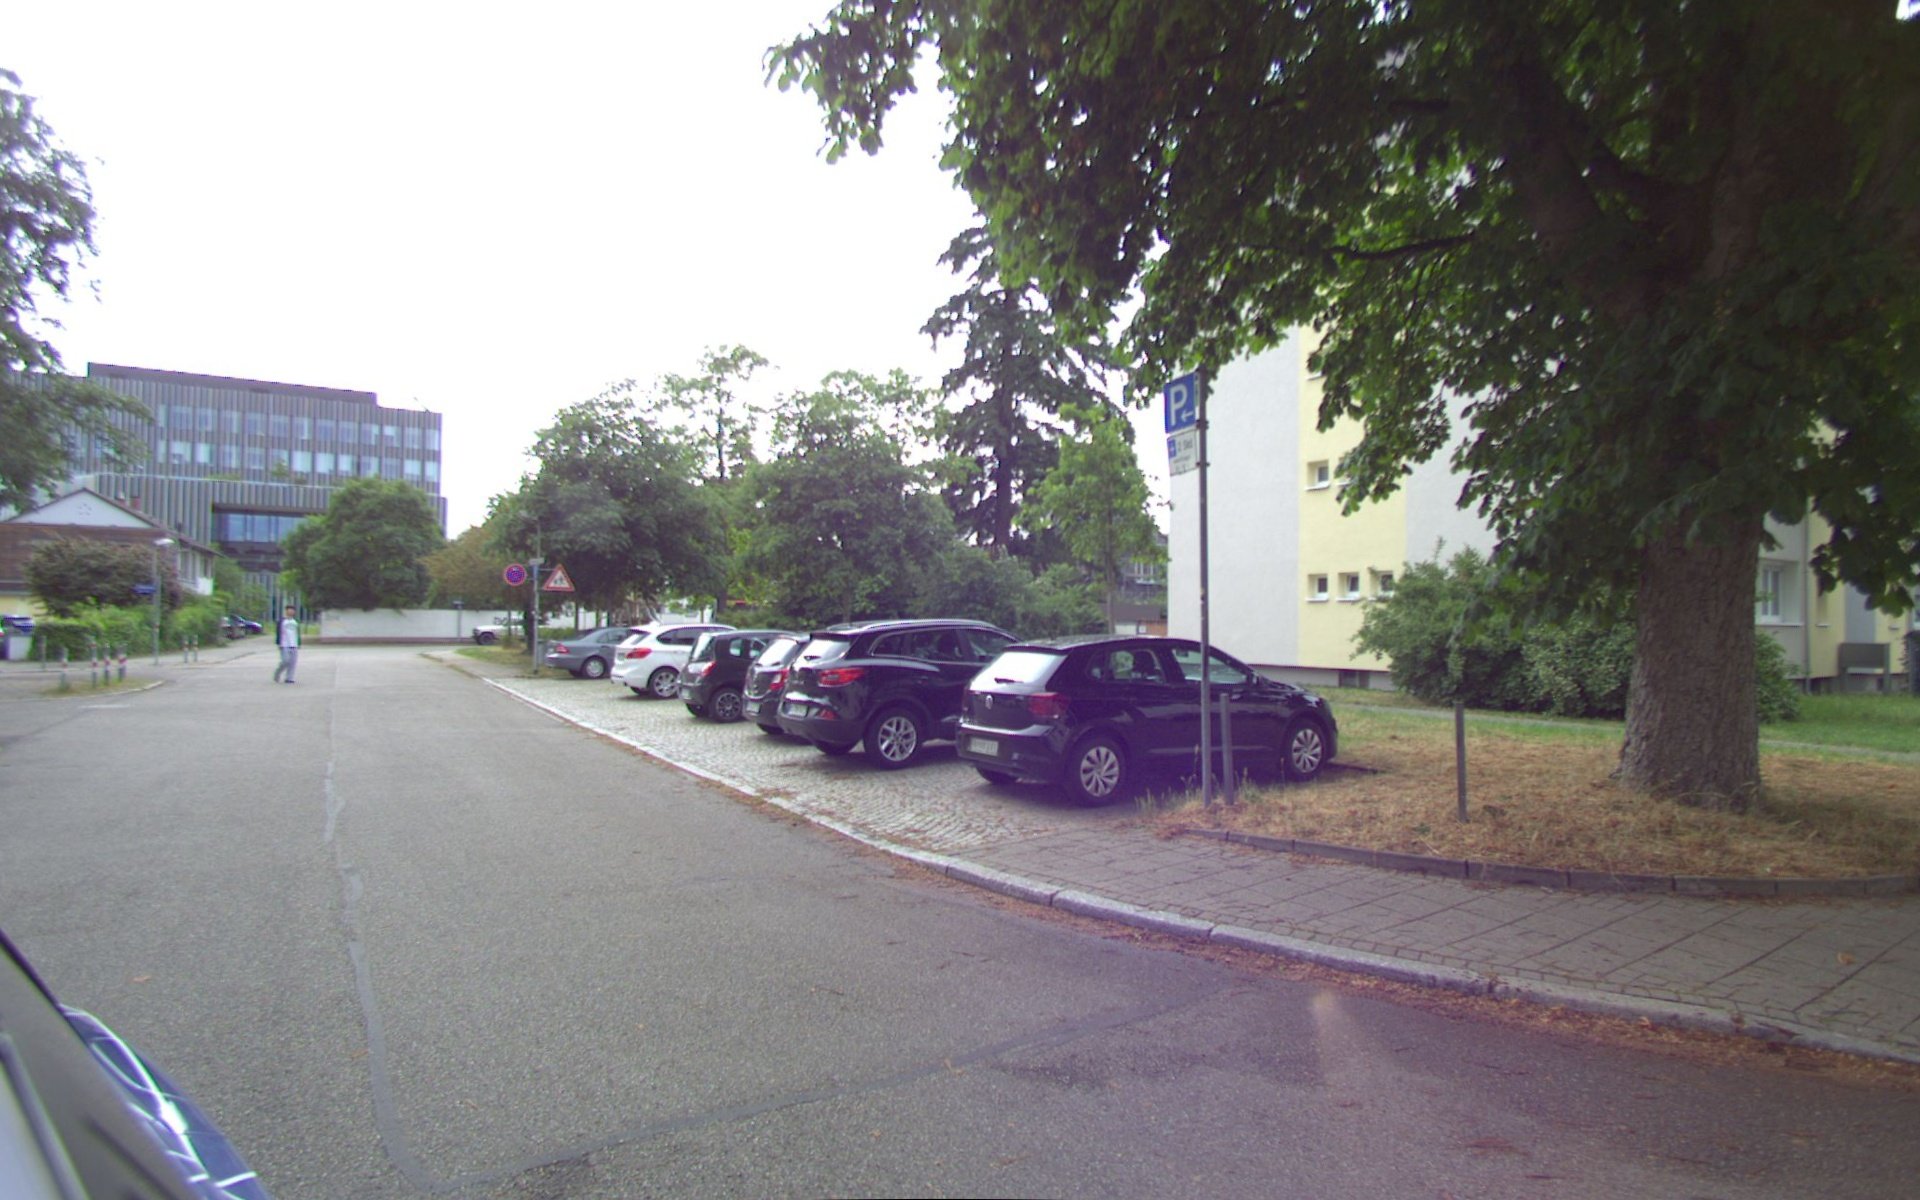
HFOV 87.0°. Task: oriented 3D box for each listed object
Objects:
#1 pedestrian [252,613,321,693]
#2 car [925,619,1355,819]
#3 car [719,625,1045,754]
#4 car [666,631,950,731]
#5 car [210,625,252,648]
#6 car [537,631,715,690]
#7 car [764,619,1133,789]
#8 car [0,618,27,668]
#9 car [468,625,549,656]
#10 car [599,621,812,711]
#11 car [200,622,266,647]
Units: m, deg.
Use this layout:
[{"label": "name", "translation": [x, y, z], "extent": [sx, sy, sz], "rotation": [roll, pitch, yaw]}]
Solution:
[{"label": "pedestrian", "translation": [-16.129, 1.258, 24.244], "extent": [1.213, 1.850, 0.870], "rotation": [-1, -2, 28]}, {"label": "car", "translation": [1.767, 1.018, 9.798], "extent": [3.776, 1.589, 1.836], "rotation": [2, -3, -29]}, {"label": "car", "translation": [-1.096, 1.170, 14.550], "extent": [4.282, 1.578, 1.847], "rotation": [0, -1, -28]}, {"label": "car", "translation": [-2.593, 1.312, 17.473], "extent": [4.481, 1.475, 1.847], "rotation": [0, -1, -28]}, {"label": "car", "translation": [-50.230, 2.512, 69.778], "extent": [1.966, 1.408, 4.012], "rotation": [1, 0, -31]}, {"label": "car", "translation": [-9.393, 1.650, 28.606], "extent": [4.485, 1.465, 1.684], "rotation": [0, -1, -36]}, {"label": "car", "translation": [-0.127, 1.101, 12.163], "extent": [3.998, 1.710, 1.922], "rotation": [0, -1, -28]}, {"label": "car", "translation": [-32.507, 1.398, 33.517], "extent": [1.813, 1.623, 4.009], "rotation": [2, -2, -36]}, {"label": "car", "translation": [-28.962, 2.590, 64.928], "extent": [4.419, 1.873, 2.005], "rotation": [1, 0, -35]}, {"label": "car", "translation": [-5.503, 1.353, 22.024], "extent": [4.078, 1.572, 1.890], "rotation": [-2, 1, -32]}, {"label": "car", "translation": [-56.343, 2.663, 78.506], "extent": [3.931, 1.851, 2.006], "rotation": [1, 0, -30]}]
